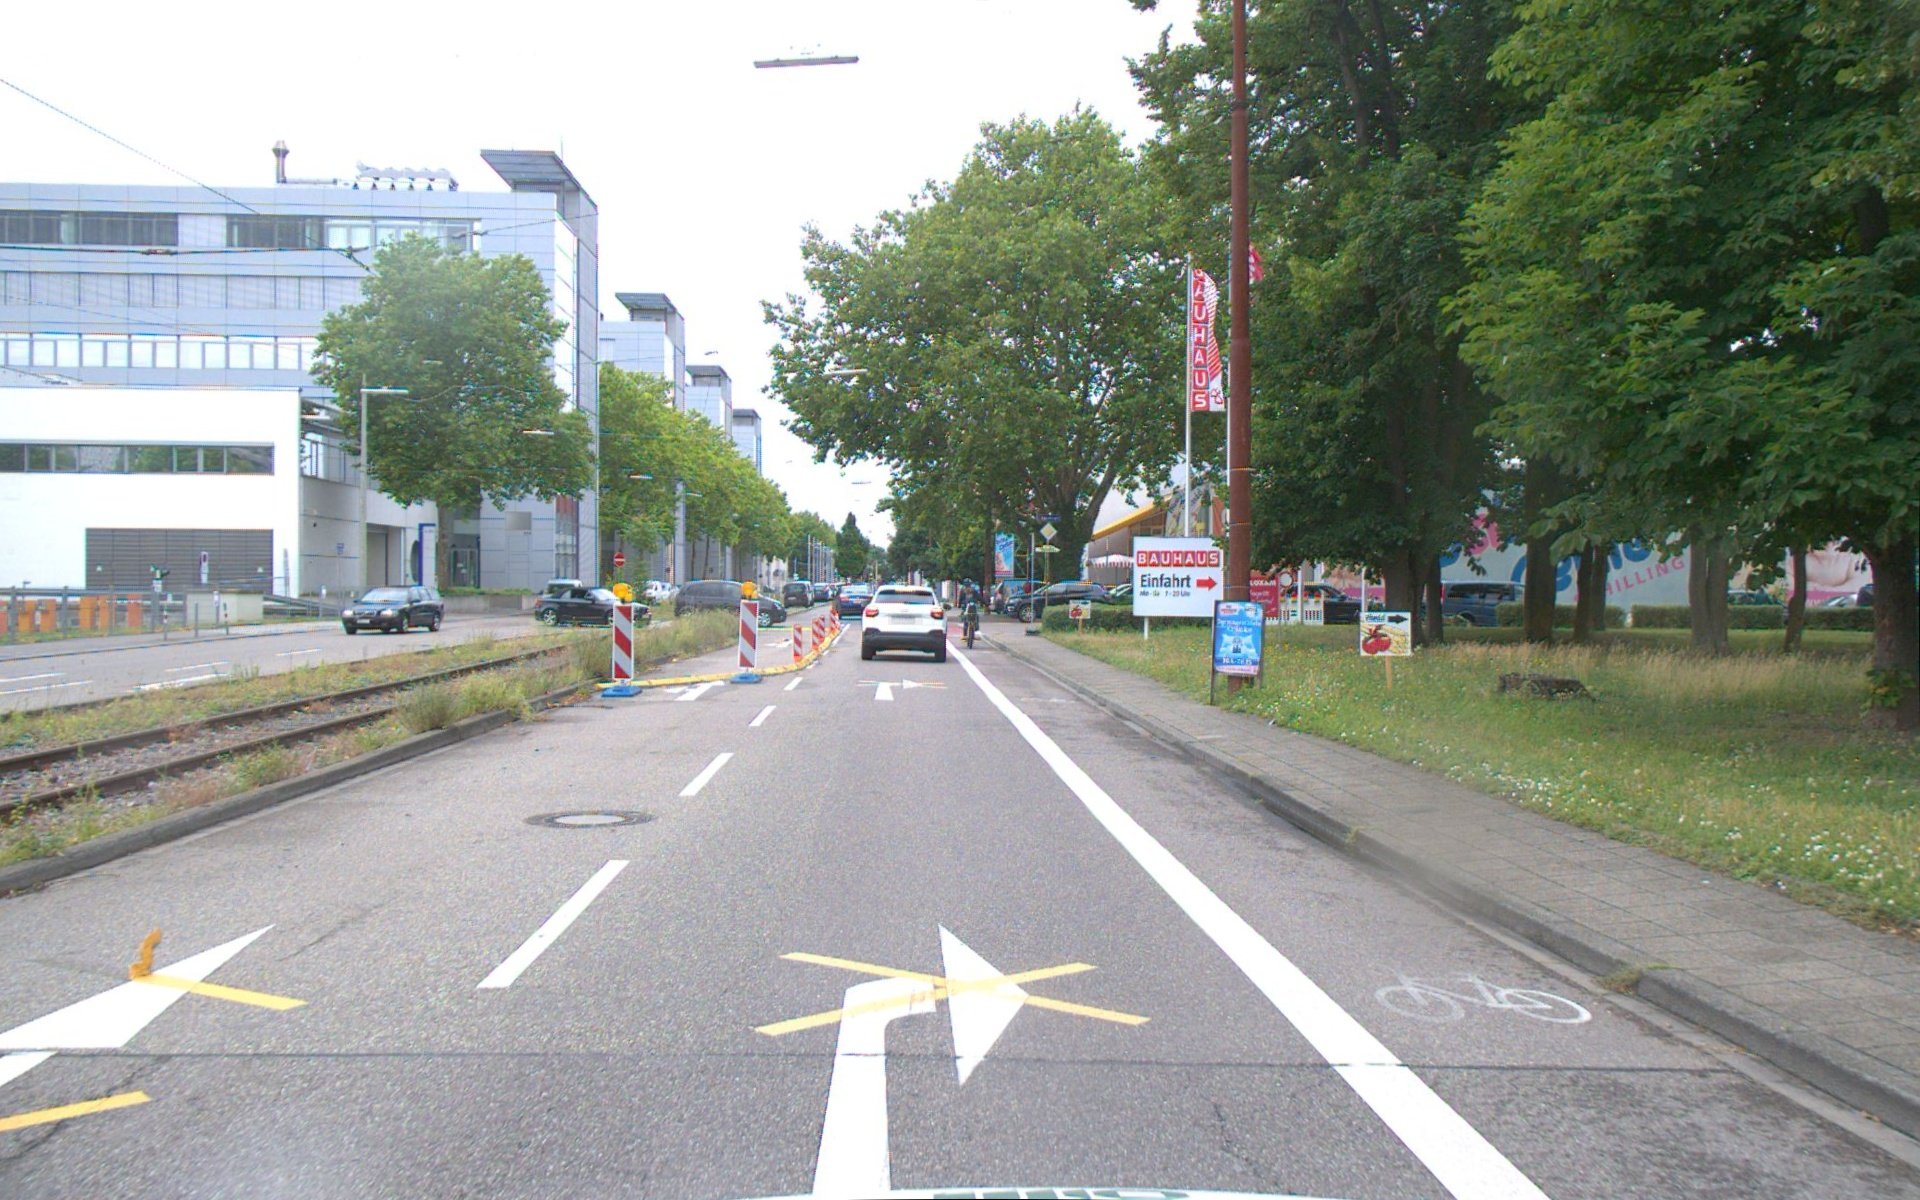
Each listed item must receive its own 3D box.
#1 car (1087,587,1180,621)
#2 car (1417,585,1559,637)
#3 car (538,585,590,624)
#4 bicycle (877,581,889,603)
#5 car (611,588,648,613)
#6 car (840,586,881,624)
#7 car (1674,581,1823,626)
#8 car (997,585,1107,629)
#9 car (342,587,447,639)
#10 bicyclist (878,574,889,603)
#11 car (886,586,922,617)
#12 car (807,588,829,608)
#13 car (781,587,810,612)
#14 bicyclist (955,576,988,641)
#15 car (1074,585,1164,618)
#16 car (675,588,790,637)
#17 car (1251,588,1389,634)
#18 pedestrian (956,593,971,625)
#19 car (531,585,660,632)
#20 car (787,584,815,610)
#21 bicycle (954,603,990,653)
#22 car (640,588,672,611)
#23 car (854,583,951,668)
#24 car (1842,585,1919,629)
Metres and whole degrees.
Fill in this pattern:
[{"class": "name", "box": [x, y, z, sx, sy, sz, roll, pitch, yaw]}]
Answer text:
[{"class": "car", "box": [8.235, 0.193, 78.470, 4.131, 1.579, 1.788, 0, 0, -5]}, {"class": "car", "box": [19.042, 0.384, 59.764, 4.462, 1.821, 2.072, 0, 1, -3]}, {"class": "car", "box": [-18.666, 0.194, 78.151, 1.784, 1.814, 4.421, 0, 0, -6]}, {"class": "bicycle", "box": [-5.050, -0.553, 108.679, 0.658, 1.418, 2.164, 1, 1, -5]}, {"class": "car", "box": [-22.056, 0.010, 110.473, 1.840, 1.661, 3.997, 0, 0, -4]}, {"class": "car", "box": [-4.323, 0.213, 71.449, 1.651, 1.540, 3.702, 1, 1, -5]}, {"class": "car", "box": [28.697, 0.106, 60.254, 4.462, 1.599, 2.072, 0, 0, -3]}, {"class": "car", "box": [3.635, 0.260, 65.918, 4.227, 1.706, 1.992, 0, 0, -2]}, {"class": "car", "box": [-17.223, 0.374, 50.565, 1.783, 1.498, 4.425, 0, 0, -2]}, {"class": "bicyclist", "box": [-5.055, -0.757, 108.872, 0.658, 1.847, 0.759, 1, 0, -6]}, {"class": "car", "box": [-3.038, 0.063, 88.984, 1.840, 1.661, 3.997, 0, 0, -4]}, {"class": "car", "box": [-12.621, -0.205, 146.981, 1.840, 1.794, 3.997, 0, 0, -4]}, {"class": "car", "box": [-11.185, -0.074, 112.809, 1.840, 1.661, 3.997, 0, 0, -4]}, {"class": "bicyclist", "box": [0.284, 0.219, 43.106, 0.800, 1.658, 1.234, 0, 0, -3]}, {"class": "car", "box": [7.722, 0.076, 80.591, 4.131, 1.579, 1.788, 0, 0, -5]}, {"class": "car", "box": [-7.962, 0.440, 58.190, 3.806, 1.583, 1.824, 2, 0, -3]}, {"class": "car", "box": [12.772, 0.379, 58.901, 4.462, 1.599, 1.991, 0, 0, -3]}, {"class": "pedestrian", "box": [0.194, 0.480, 89.120, 0.746, 1.734, 0.680, 0, 0, -8]}, {"class": "car", "box": [-12.643, 0.311, 57.384, 4.031, 1.501, 1.826, -1, -1, 20]}, {"class": "car", "box": [-11.385, -0.232, 118.619, 1.840, 1.794, 3.997, 0, 0, -4]}, {"class": "bicycle", "box": [0.288, 0.701, 43.110, 0.800, 1.234, 2.682, 0, 0, -3]}, {"class": "car", "box": [-22.540, -0.035, 122.648, 1.840, 1.661, 4.202, 0, 0, -4]}, {"class": "car", "box": [-1.269, 0.493, 34.835, 1.788, 1.628, 3.772, 1, 1, -5]}, {"class": "car", "box": [35.134, 0.237, 60.702, 4.462, 1.599, 2.072, 0, 0, -3]}]
